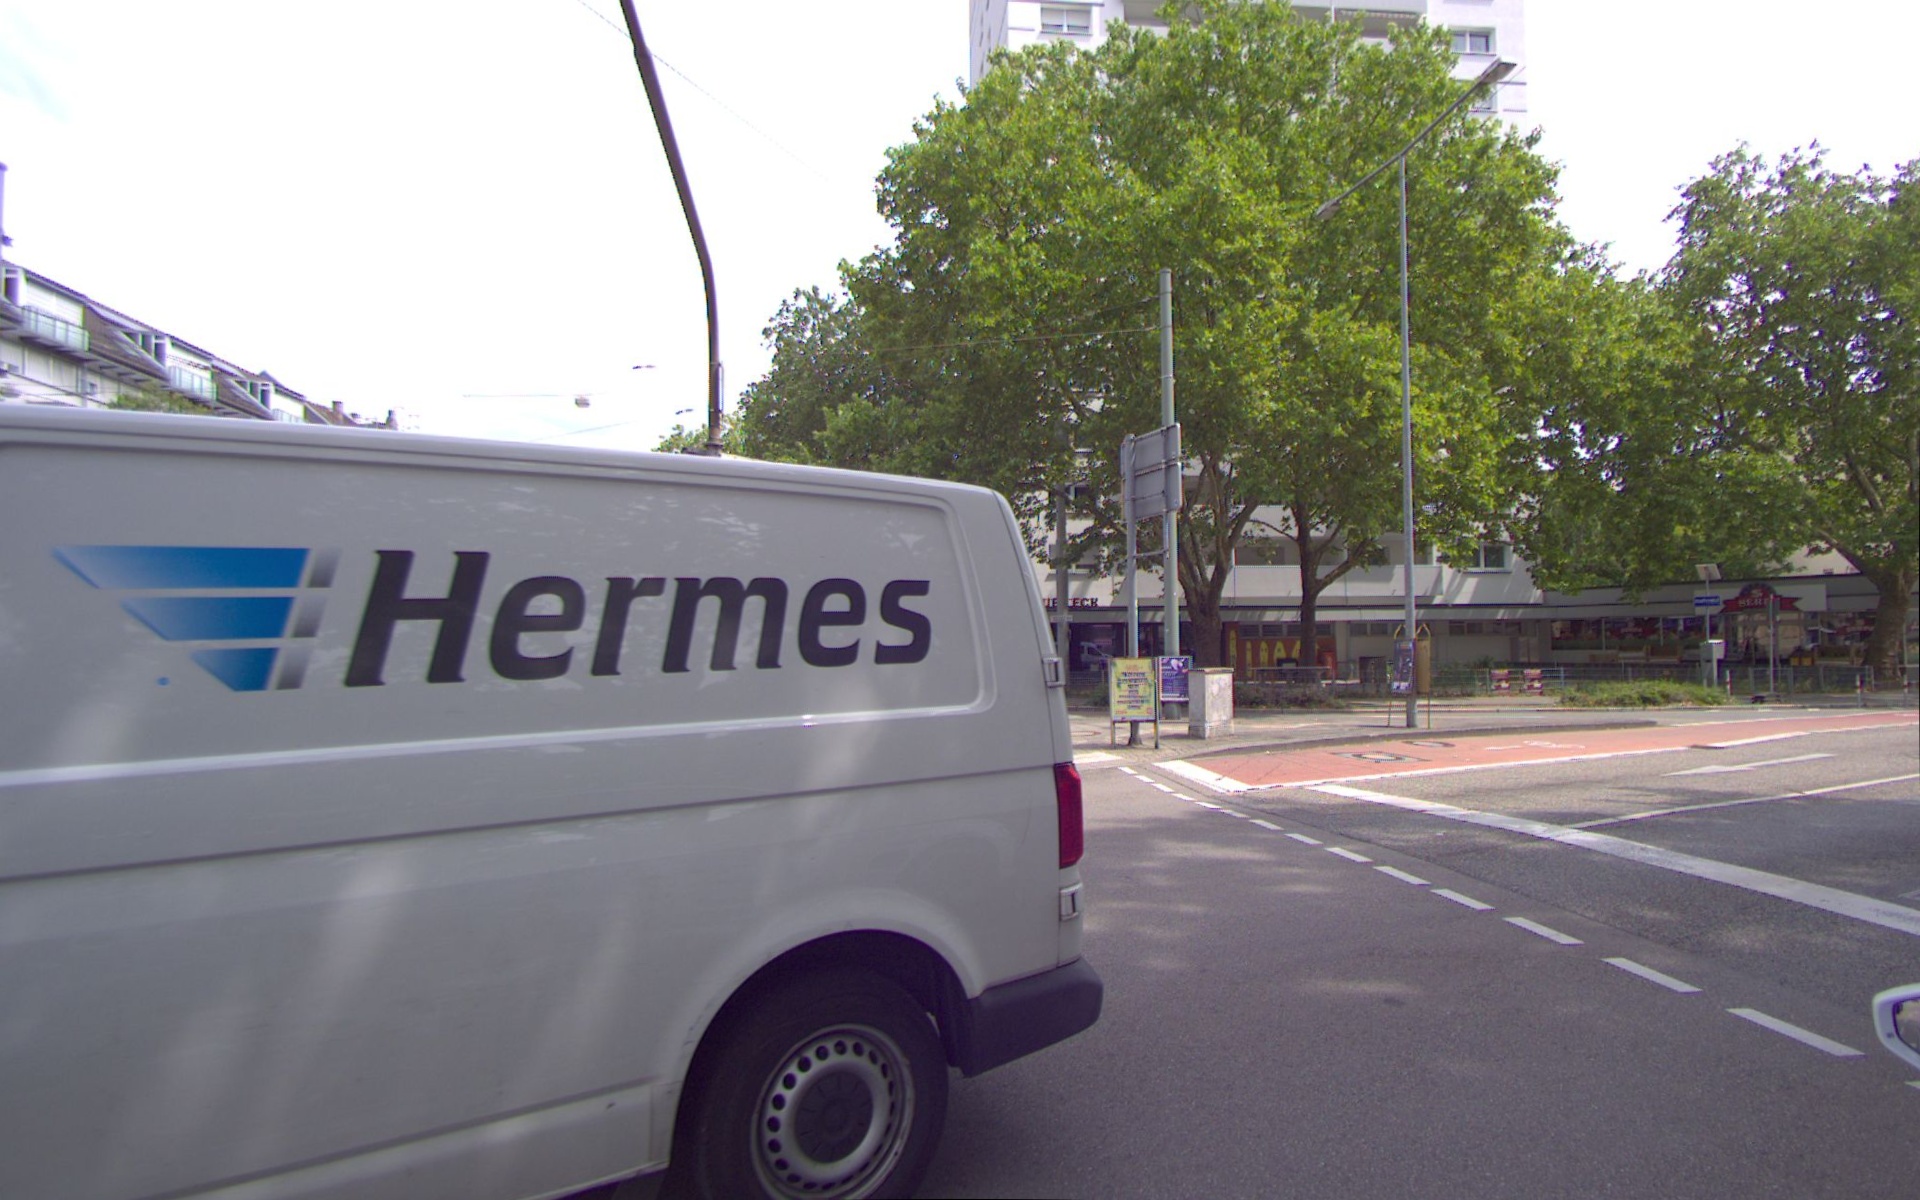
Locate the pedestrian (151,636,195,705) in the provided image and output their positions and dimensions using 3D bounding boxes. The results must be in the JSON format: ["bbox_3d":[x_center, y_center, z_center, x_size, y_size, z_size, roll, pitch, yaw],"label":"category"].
[{"bbox_3d":[-23.865,2.136,30.478,0.746,2.040,0.757,-1,-2,-5],"label":"pedestrian"}]

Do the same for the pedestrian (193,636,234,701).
[{"bbox_3d":[-23.902,2.195,32.178,0.746,2.040,0.757,-1,-2,-5],"label":"pedestrian"}]

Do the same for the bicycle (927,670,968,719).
[{"bbox_3d":[-0.315,2.256,24.051,0.616,1.108,1.968,-1,-5,-11],"label":"bicycle"}]

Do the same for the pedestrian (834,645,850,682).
[{"bbox_3d":[-5.293,2.856,45.120,0.684,1.645,0.505,-1,-2,-9],"label":"pedestrian"}]

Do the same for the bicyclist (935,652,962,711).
[{"bbox_3d":[-0.284,1.922,23.863,0.483,1.359,0.752,-1,-4,-10],"label":"bicyclist"}]

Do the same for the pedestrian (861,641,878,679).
[{"bbox_3d":[-4.035,2.661,44.730,0.683,1.657,0.684,-1,-2,-9],"label":"pedestrian"}]

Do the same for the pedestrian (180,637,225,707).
[{"bbox_3d":[-22.434,2.117,29.767,0.746,2.040,0.757,-1,-2,-5],"label":"pedestrian"}]

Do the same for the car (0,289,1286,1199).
[{"bbox_3d":[-1.594,0.524,2.641,4.890,1.962,1.914,0,-2,-31],"label":"car"}]
